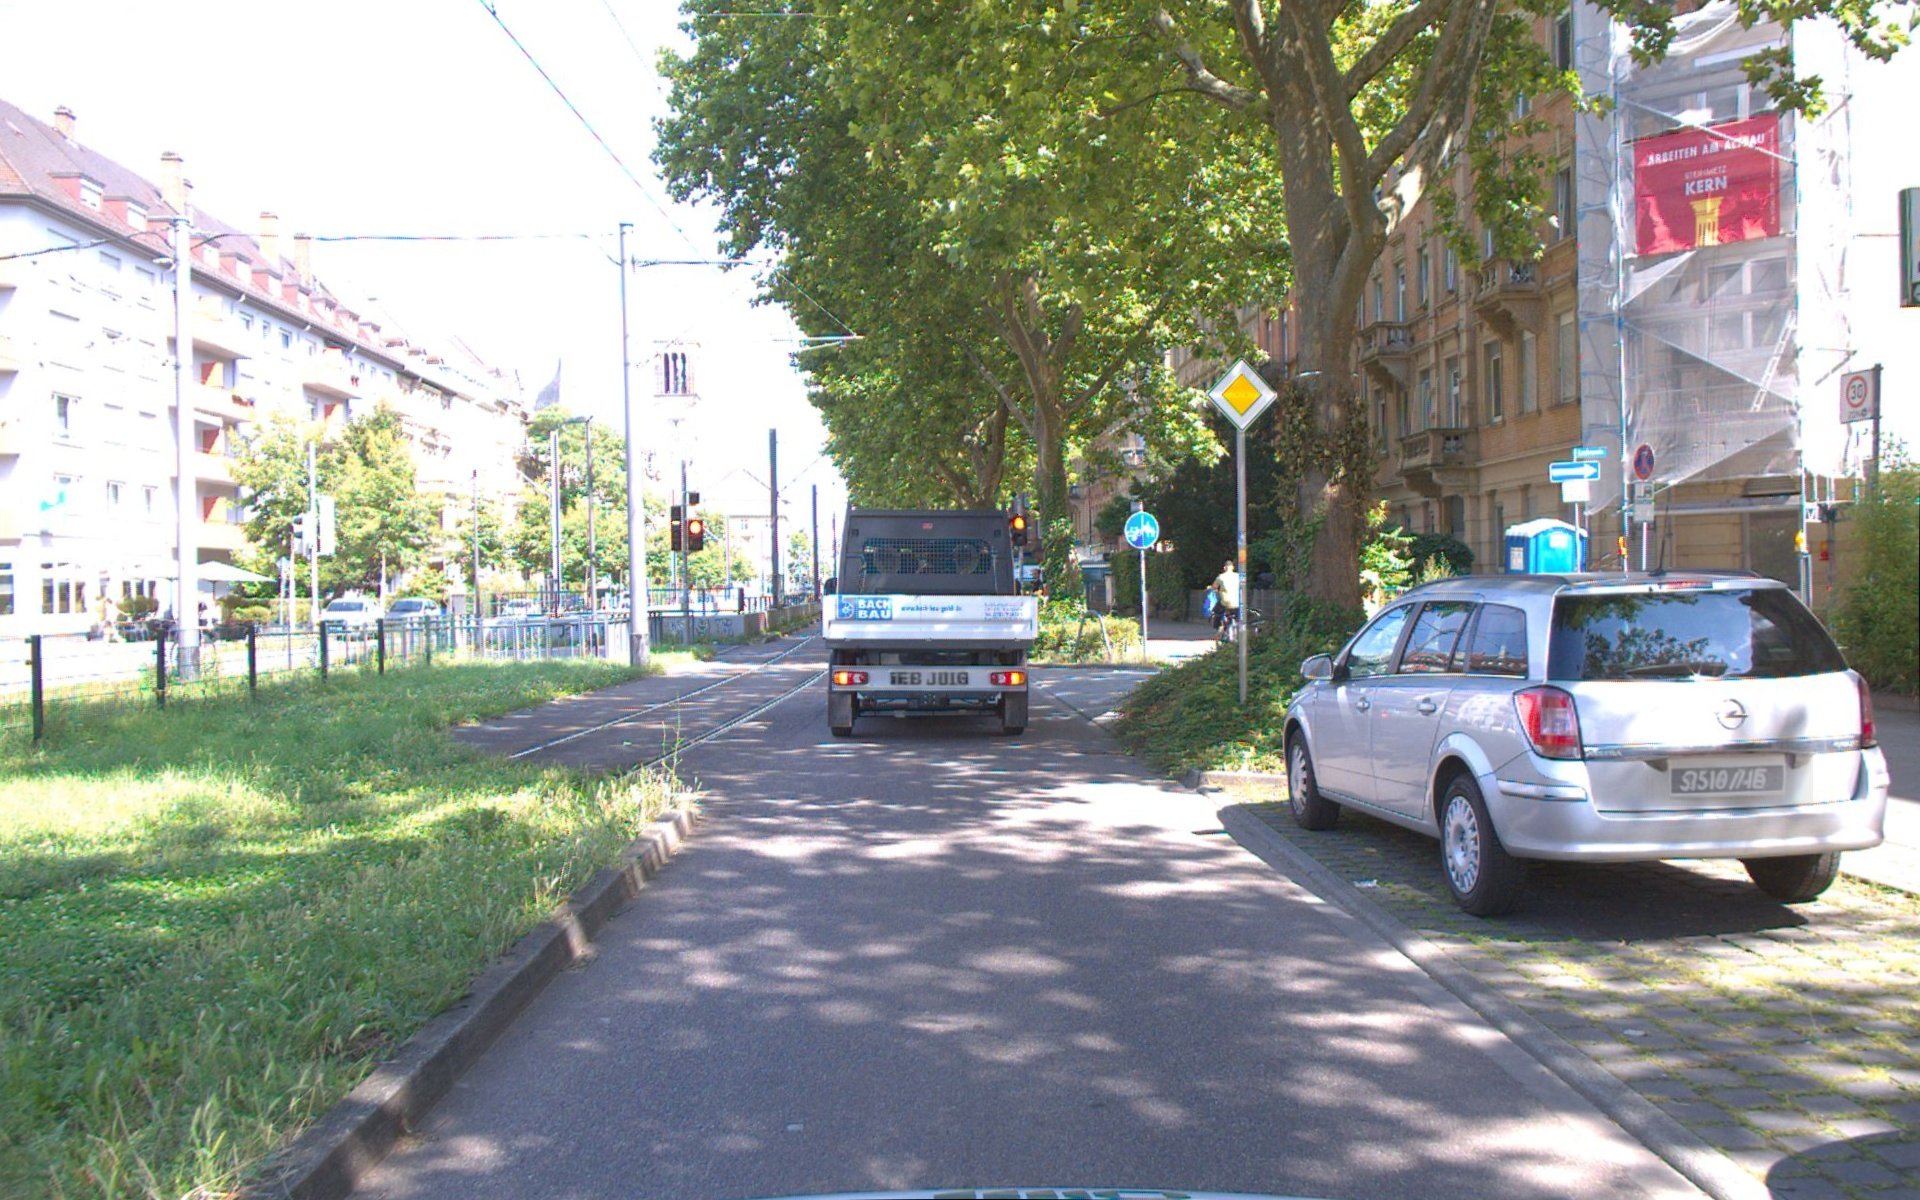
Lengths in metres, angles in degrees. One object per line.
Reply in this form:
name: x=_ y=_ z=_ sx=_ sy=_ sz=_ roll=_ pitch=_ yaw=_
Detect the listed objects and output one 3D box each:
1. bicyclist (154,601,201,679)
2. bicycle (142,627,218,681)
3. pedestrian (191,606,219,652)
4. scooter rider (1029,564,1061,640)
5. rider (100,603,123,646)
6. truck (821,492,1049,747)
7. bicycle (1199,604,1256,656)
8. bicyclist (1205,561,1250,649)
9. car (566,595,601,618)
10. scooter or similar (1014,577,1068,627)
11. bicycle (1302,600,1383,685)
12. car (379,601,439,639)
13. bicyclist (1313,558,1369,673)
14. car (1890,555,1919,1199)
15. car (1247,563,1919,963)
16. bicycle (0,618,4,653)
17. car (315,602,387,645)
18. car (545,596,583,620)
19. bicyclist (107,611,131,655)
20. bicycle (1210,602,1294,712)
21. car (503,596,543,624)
bicyclist: x=-16.933 y=0.849 z=35.801 sx=0.609 sy=1.651 sz=0.695 roll=-1 pitch=0 yaw=6
bicycle: x=-16.902 y=1.157 z=35.898 sx=0.520 sy=1.067 sz=1.927 roll=-2 pitch=0 yaw=6
pedestrian: x=-26.857 y=1.019 z=58.820 sx=0.847 sy=1.600 sz=0.684 roll=-1 pitch=0 yaw=-26
scooter rider: x=2.159 y=0.055 z=41.869 sx=0.652 sy=1.899 sz=0.665 roll=-1 pitch=0 yaw=14
rider: x=-29.207 y=0.840 z=56.939 sx=0.613 sy=1.448 sz=0.587 roll=-1 pitch=0 yaw=-19
truck: x=-0.287 y=0.169 z=17.613 sx=2.095 sy=2.359 sz=4.400 roll=1 pitch=0 yaw=-2
bicycle: x=4.960 y=0.543 z=30.787 sx=0.661 sy=0.897 sz=2.163 roll=-1 pitch=0 yaw=-1
bicyclist: x=4.946 y=0.088 z=30.606 sx=0.667 sy=1.591 sz=0.777 roll=-1 pitch=0 yaw=-1
car: x=-26.358 y=0.458 z=116.006 sx=1.735 sy=1.524 sz=3.997 roll=-1 pitch=0 yaw=-4
scooter or similar: x=2.056 y=0.041 z=41.901 sx=1.239 sy=1.225 sz=0.658 roll=-2 pitch=0 yaw=14
bicycle: x=5.442 y=0.580 z=23.665 sx=0.554 sy=1.131 sz=2.310 roll=-1 pitch=0 yaw=-1
car: x=-24.340 y=0.869 z=73.125 sx=1.737 sy=1.524 sz=3.993 roll=-3 pitch=1 yaw=-8
bicyclist: x=5.434 y=0.216 z=23.632 sx=0.625 sy=1.601 sz=0.579 roll=-1 pitch=0 yaw=-1
car: x=3.193 y=0.653 z=1.634 sx=1.796 sy=1.534 sz=4.641 roll=-2 pitch=0 yaw=-2
car: x=3.043 y=0.626 z=8.851 sx=1.798 sy=1.534 sz=4.486 roll=-2 pitch=0 yaw=-6
bicycle: x=-32.423 y=1.203 z=54.099 sx=0.893 sy=1.157 sz=2.805 roll=-1 pitch=0 yaw=-6
car: x=-23.758 y=0.901 z=64.670 sx=1.737 sy=1.524 sz=3.993 roll=-3 pitch=1 yaw=-8
car: x=-25.867 y=0.496 z=108.186 sx=1.735 sy=1.524 sz=3.997 roll=-1 pitch=0 yaw=-4
bicyclist: x=-28.727 y=1.120 z=56.492 sx=0.613 sy=1.448 sz=0.587 roll=-1 pitch=0 yaw=-19
bicycle: x=3.194 y=0.597 z=18.010 sx=0.413 sy=1.125 sz=1.614 roll=-1 pitch=0 yaw=27
car: x=-25.041 y=0.560 z=94.851 sx=1.737 sy=1.524 sz=3.993 roll=-1 pitch=0 yaw=-8
